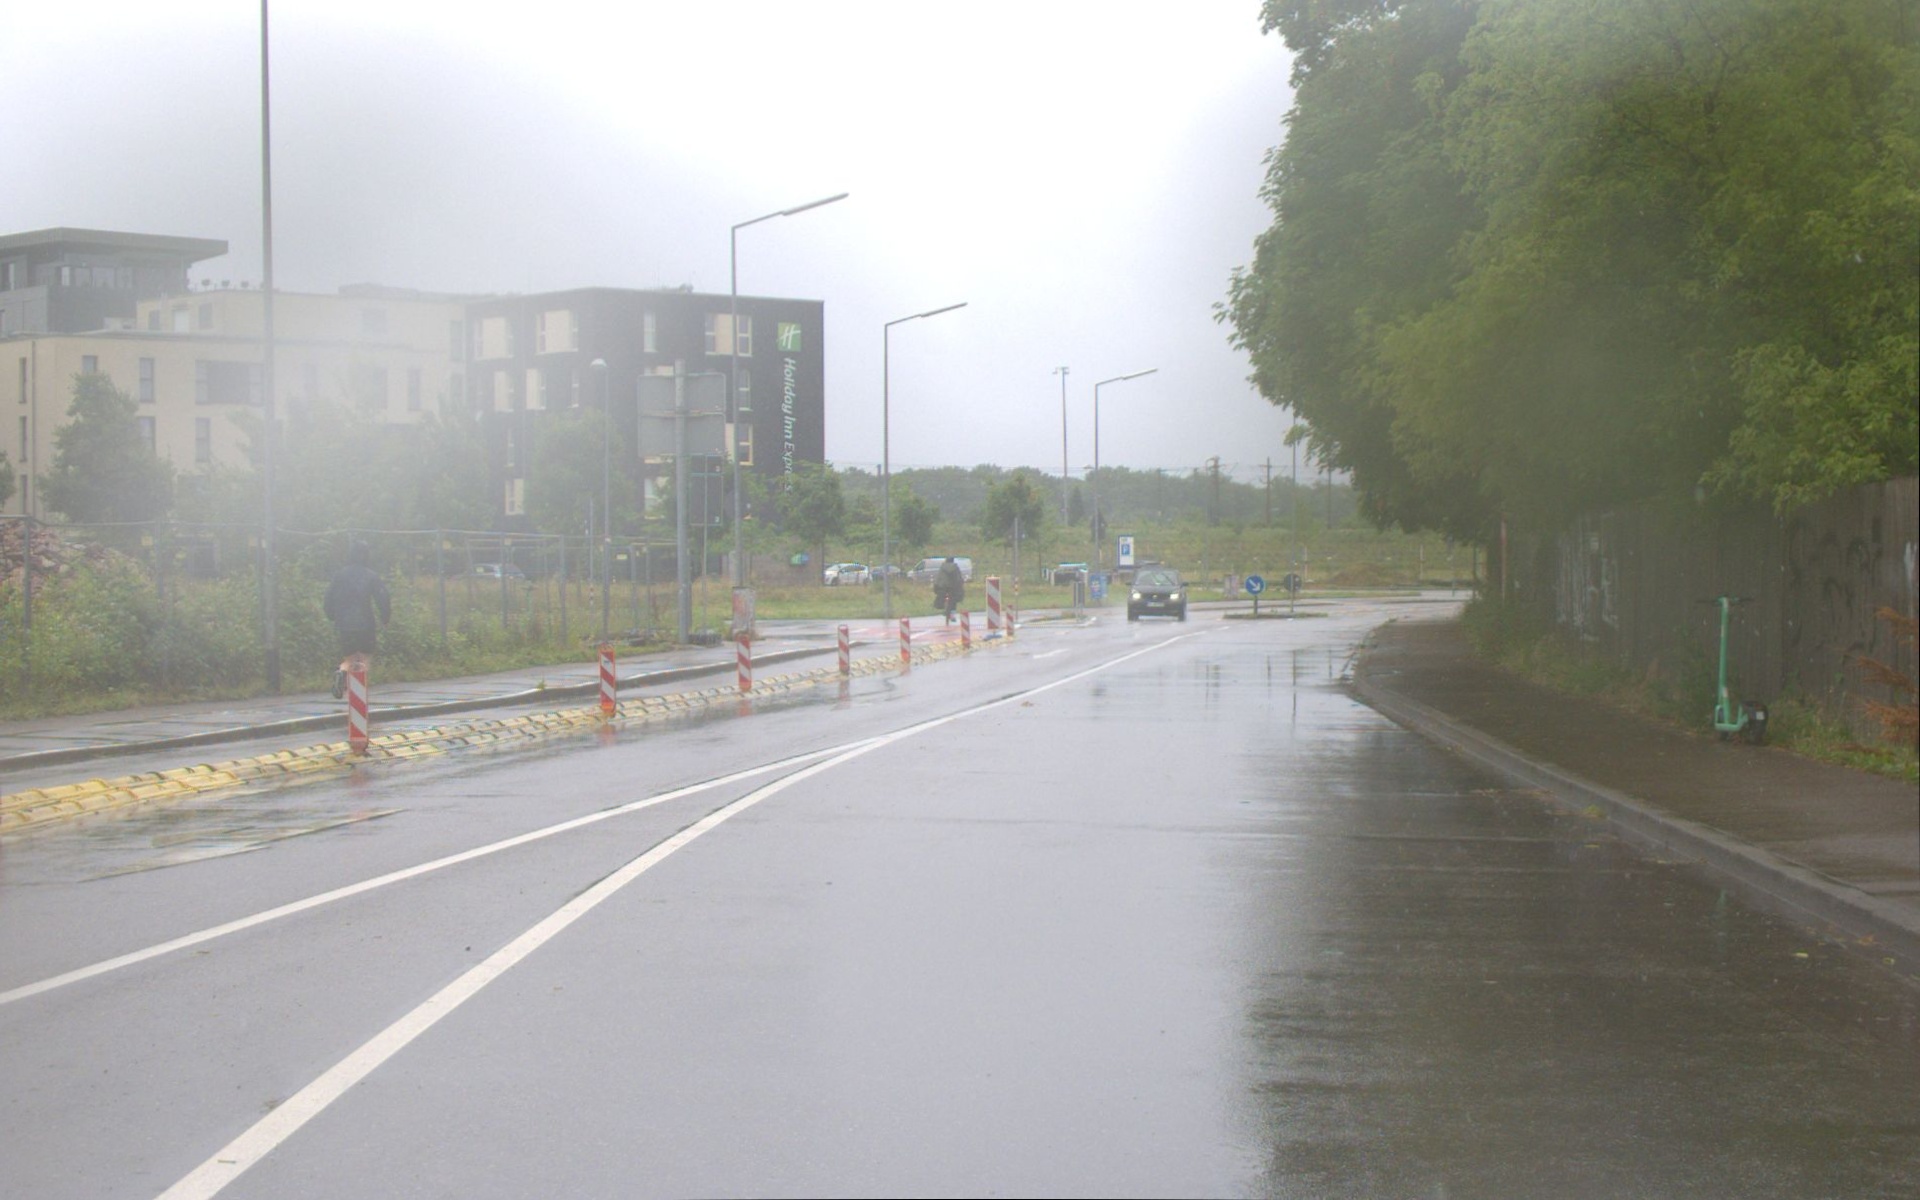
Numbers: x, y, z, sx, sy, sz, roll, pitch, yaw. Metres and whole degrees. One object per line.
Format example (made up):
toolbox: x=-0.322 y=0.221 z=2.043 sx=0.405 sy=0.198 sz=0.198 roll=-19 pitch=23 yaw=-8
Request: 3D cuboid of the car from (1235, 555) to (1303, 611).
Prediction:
car: x=10.363 y=-0.549 z=115.199 sx=1.994 sy=1.766 sz=3.998 roll=0 pitch=-2 yaw=9

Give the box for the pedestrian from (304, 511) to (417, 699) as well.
pedestrian: x=-6.486 y=0.071 z=37.241 sx=0.846 sy=2.007 sz=1.131 roll=0 pitch=-2 yaw=11

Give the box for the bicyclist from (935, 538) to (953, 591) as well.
bicyclist: x=-0.429 y=-0.954 z=92.186 sx=0.444 sy=1.399 sz=0.550 roll=0 pitch=-2 yaw=3

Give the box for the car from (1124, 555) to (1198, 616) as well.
car: x=5.985 y=-0.438 z=102.051 sx=1.994 sy=1.766 sz=3.999 roll=0 pitch=0 yaw=6

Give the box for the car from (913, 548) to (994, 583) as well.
car: x=-0.330 y=-1.877 z=186.878 sx=3.987 sy=1.766 sz=1.999 roll=1 pitch=-2 yaw=-37

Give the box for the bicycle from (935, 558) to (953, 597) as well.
bicycle: x=-0.427 y=-0.606 z=92.050 sx=0.427 sy=1.016 sz=1.612 roll=0 pitch=1 yaw=2

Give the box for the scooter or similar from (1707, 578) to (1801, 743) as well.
scooter or similar: x=6.054 y=0.446 z=26.263 sx=0.491 sy=1.230 sz=1.370 roll=0 pitch=0 yaw=4
